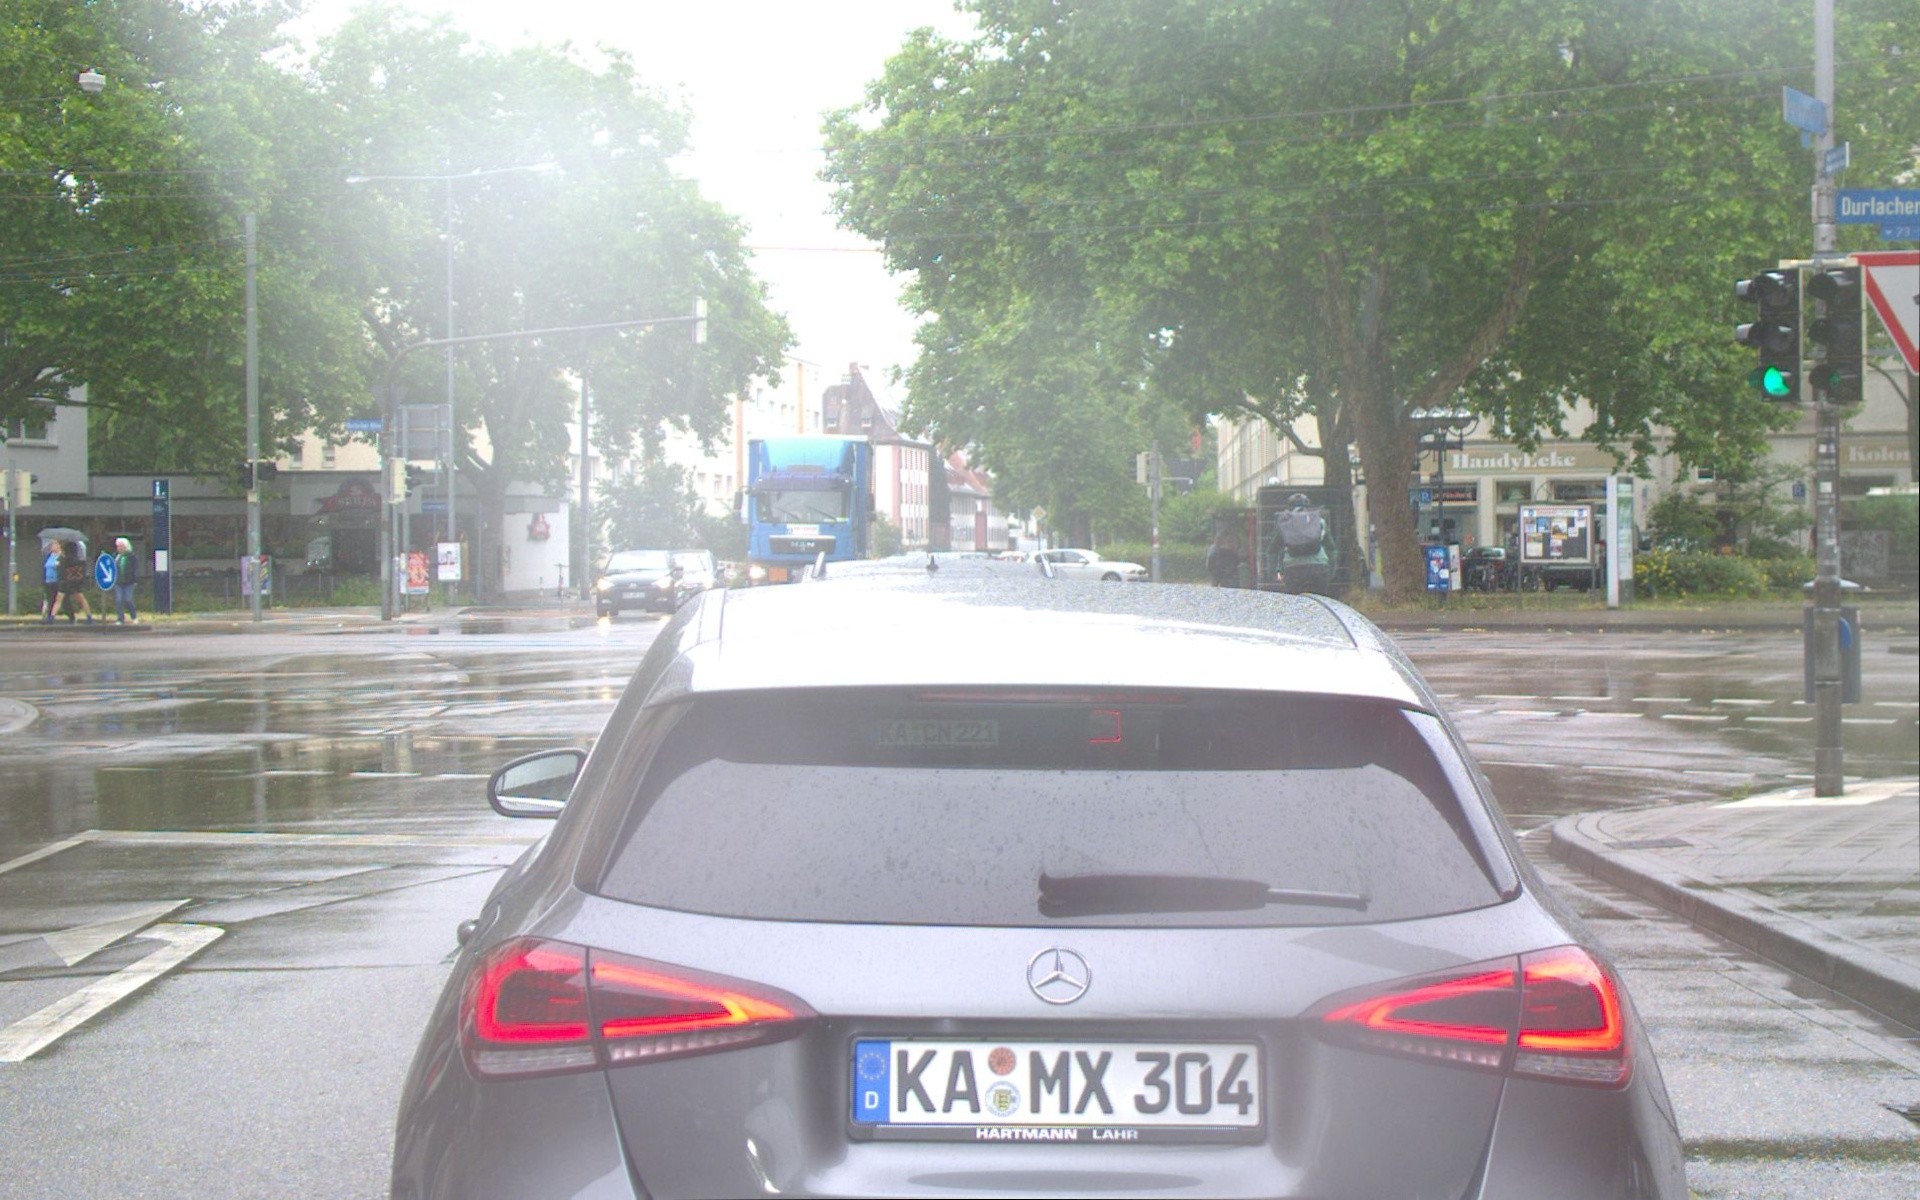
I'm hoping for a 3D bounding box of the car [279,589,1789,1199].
[{"bbox_3d":[0.064,0.704,5.853,1.791,1.368,3.507,1,1,-1],"label":"car"}]

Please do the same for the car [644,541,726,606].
[{"bbox_3d":[-6.769,-0.673,84.890,1.726,1.541,4.340,-1,1,-1],"label":"car"}]

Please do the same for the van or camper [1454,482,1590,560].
[{"bbox_3d":[16.615,-2.310,101.443,2.400,2.224,5.422,0,1,27],"label":"van or camper"}]

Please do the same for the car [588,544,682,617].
[{"bbox_3d":[-7.130,-0.452,75.697,1.743,1.541,3.779,-1,1,-1],"label":"car"}]

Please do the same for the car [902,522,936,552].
[{"bbox_3d":[-2.600,-4.003,218.898,1.890,1.830,4.000,-1,1,3],"label":"car"}]

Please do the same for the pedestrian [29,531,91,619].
[{"bbox_3d":[-17.100,-0.480,65.313,0.792,1.643,0.816,-1,1,15],"label":"pedestrian"}]

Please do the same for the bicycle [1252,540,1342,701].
[{"bbox_3d":[3.080,0.154,31.268,0.749,1.372,2.706,-1,1,6],"label":"bicycle"}]

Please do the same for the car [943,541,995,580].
[{"bbox_3d":[0.356,-1.640,142.870,1.993,1.568,4.000,-1,1,-2],"label":"car"}]

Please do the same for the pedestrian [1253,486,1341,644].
[{"bbox_3d":[3.066,-0.323,31.248,0.744,1.393,1.047,-1,1,6],"label":"pedestrian"}]

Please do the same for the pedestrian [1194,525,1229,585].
[{"bbox_3d":[6.979,-1.240,95.472,0.718,1.663,0.663,0,1,42],"label":"pedestrian"}]

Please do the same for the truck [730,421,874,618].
[{"bbox_3d":[-3.390,-1.745,76.196,2.845,4.011,10.317,-1,1,-1],"label":"truck"}]

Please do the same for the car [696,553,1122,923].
[{"bbox_3d":[-0.218,0.502,15.211,1.607,1.368,4.000,-1,1,-1],"label":"car"}]

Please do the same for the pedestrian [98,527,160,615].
[{"bbox_3d":[-15.823,-0.549,65.481,0.835,1.643,0.755,-1,1,15],"label":"pedestrian"}]

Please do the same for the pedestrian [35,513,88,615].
[{"bbox_3d":[-16.409,-0.653,62.791,0.677,1.832,0.640,-2,1,-42],"label":"pedestrian"}]
